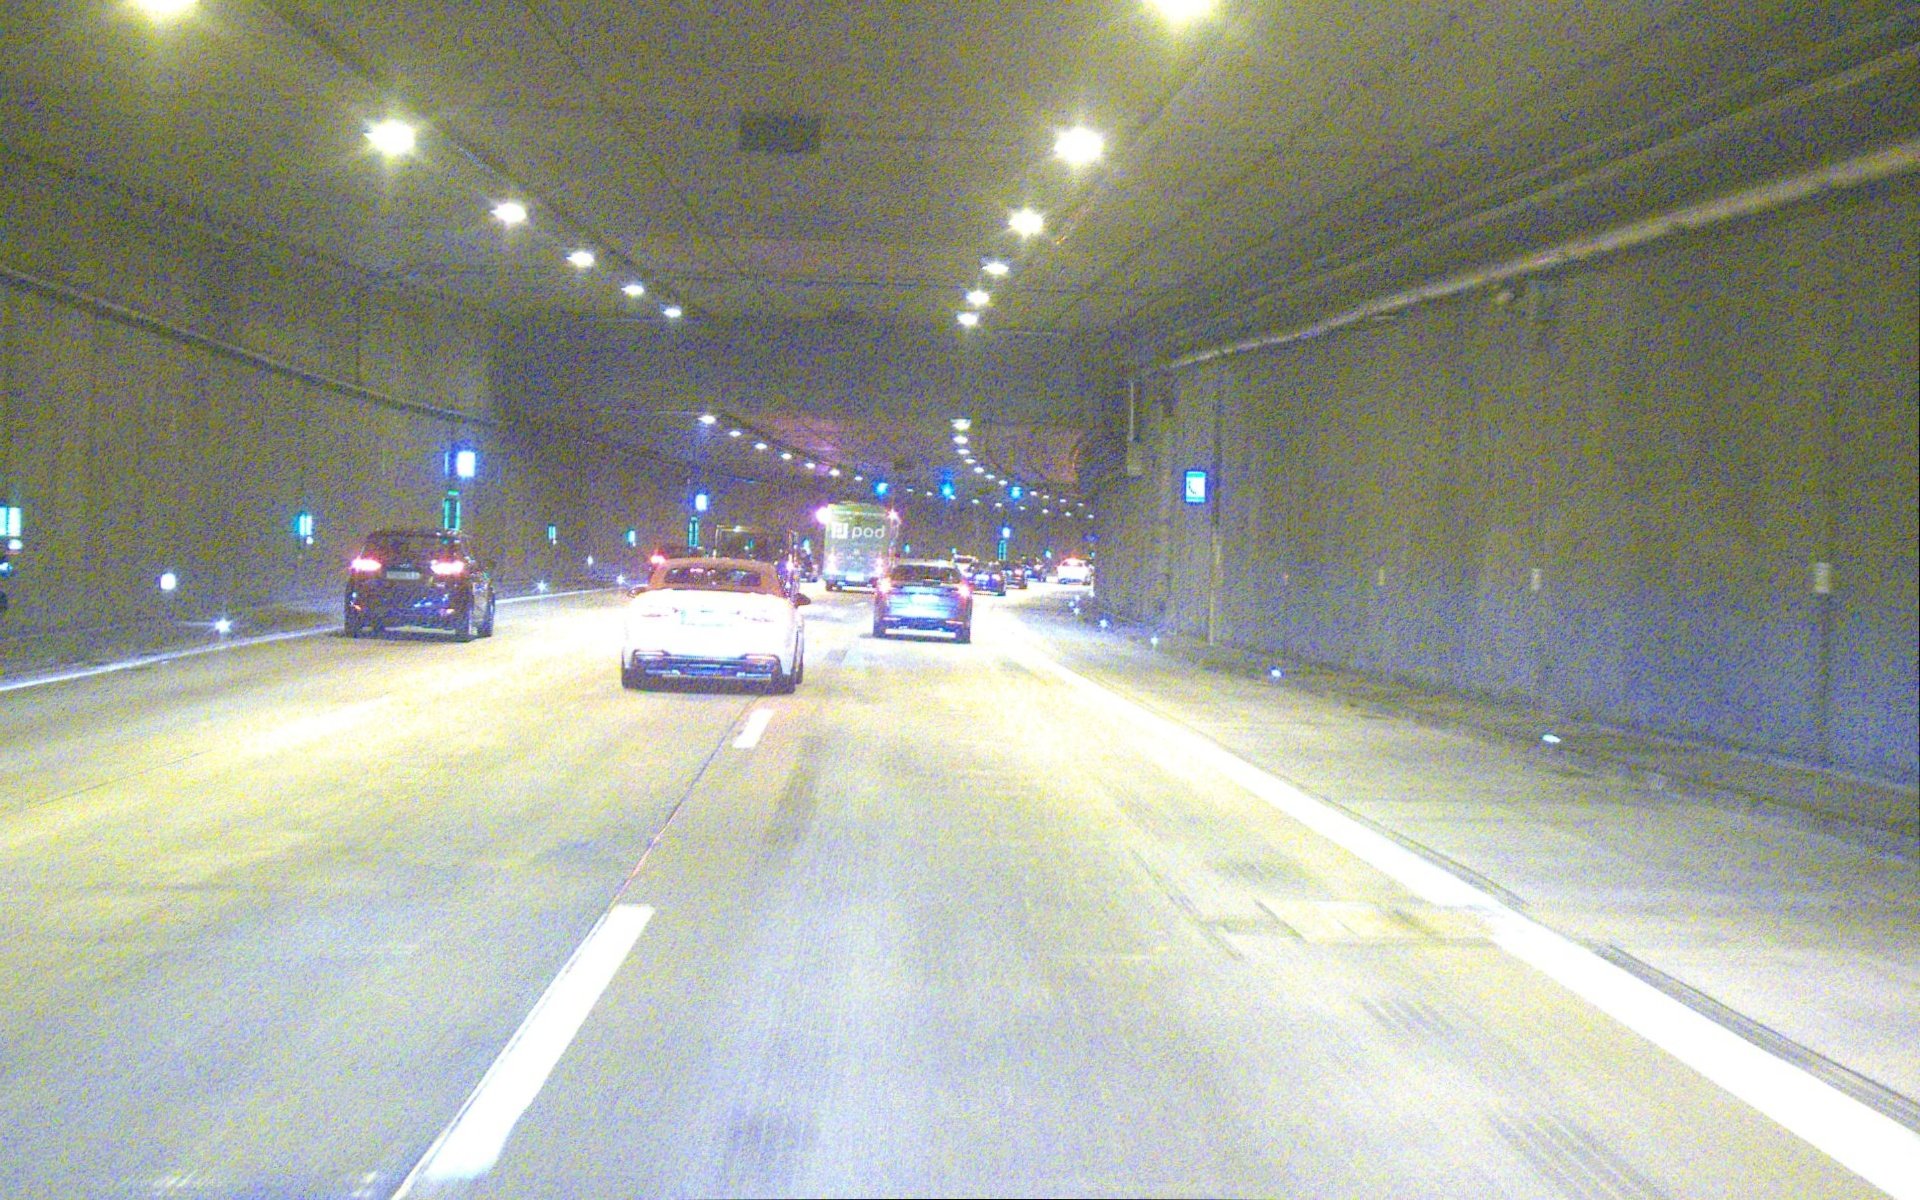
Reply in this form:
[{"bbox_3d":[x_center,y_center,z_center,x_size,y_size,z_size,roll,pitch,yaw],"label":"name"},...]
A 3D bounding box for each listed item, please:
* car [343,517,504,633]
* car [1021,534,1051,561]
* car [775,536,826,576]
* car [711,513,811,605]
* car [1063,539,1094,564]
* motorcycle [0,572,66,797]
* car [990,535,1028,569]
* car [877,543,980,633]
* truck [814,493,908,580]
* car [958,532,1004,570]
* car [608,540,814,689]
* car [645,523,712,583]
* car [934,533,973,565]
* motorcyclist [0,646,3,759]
[{"bbox_3d":[-7.670,-0.380,49.448,1.785,1.593,3.801,0,1,-1],"label":"car"},{"bbox_3d":[4.835,-3.333,219.251,1.833,1.685,4.000,1,1,1],"label":"car"},{"bbox_3d":[-6.702,-1.865,144.647,1.843,1.598,4.000,1,1,1],"label":"car"},{"bbox_3d":[-4.421,-0.915,77.039,1.993,1.965,4.000,-1,1,0],"label":"car"},{"bbox_3d":[7.405,-3.046,215.142,1.844,1.546,4.000,1,1,1],"label":"car"},{"bbox_3d":[-5.837,0.493,19.465,0.845,1.241,2.605,-1,2,0],"label":"motorcycle"},{"bbox_3d":[2.500,-2.457,175.259,1.858,1.660,4.000,1,1,0],"label":"car"},{"bbox_3d":[-0.582,-0.243,63.838,1.839,1.596,4.000,0,1,0],"label":"car"},{"bbox_3d":[-3.638,-2.441,128.485,3.083,3.102,10.030,0,2,1],"label":"truck"},{"bbox_3d":[0.902,-2.109,146.137,1.844,1.562,4.000,1,1,1],"label":"car"},{"bbox_3d":[-2.617,0.114,36.950,1.993,1.478,4.000,1,1,-2],"label":"car"},{"bbox_3d":[-8.180,-1.356,100.136,1.800,1.678,4.000,-1,1,-3],"label":"car"},{"bbox_3d":[-0.377,-2.780,188.229,1.993,1.748,4.000,0,1,-2],"label":"car"},{"bbox_3d":[-5.847,0.177,19.024,0.839,1.472,0.821,-1,1,0],"label":"motorcyclist"}]
